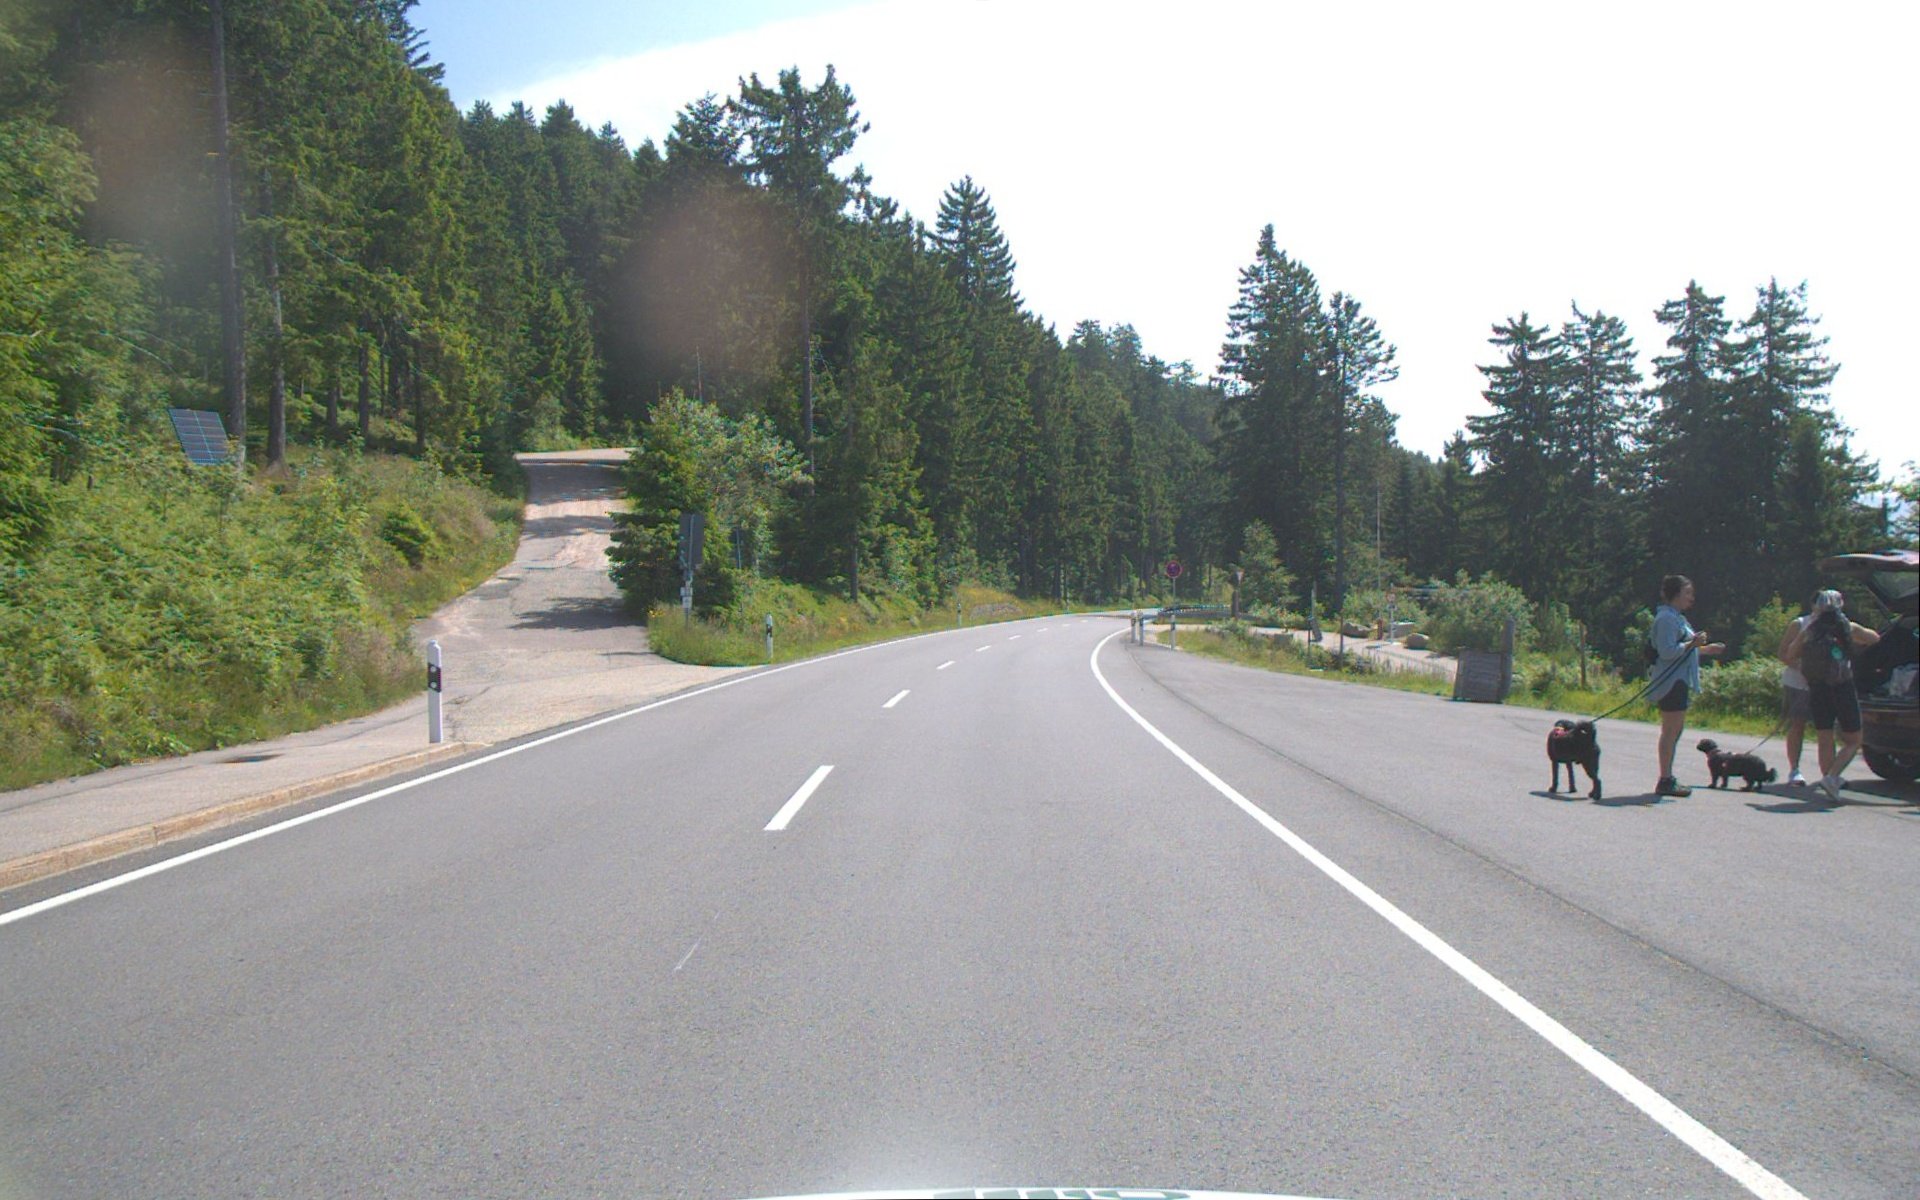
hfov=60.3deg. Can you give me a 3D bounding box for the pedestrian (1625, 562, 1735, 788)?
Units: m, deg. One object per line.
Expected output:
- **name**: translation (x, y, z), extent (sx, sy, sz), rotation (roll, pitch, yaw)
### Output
- **pedestrian**: translation (5.905, 0.597, 13.595), extent (0.604, 1.806, 0.724), rotation (0, 0, 4)

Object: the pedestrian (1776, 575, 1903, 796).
- **pedestrian**: translation (7.039, 0.666, 13.264), extent (0.701, 1.722, 0.619), rotation (0, 0, 3)

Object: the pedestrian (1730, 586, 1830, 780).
- **pedestrian**: translation (7.413, 0.733, 14.980), extent (0.638, 1.689, 0.688), rotation (-1, 2, 10)

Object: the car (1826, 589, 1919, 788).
- **car**: translation (9.991, 0.816, 14.744), extent (3.745, 1.689, 1.650), rotation (2, 0, -9)
